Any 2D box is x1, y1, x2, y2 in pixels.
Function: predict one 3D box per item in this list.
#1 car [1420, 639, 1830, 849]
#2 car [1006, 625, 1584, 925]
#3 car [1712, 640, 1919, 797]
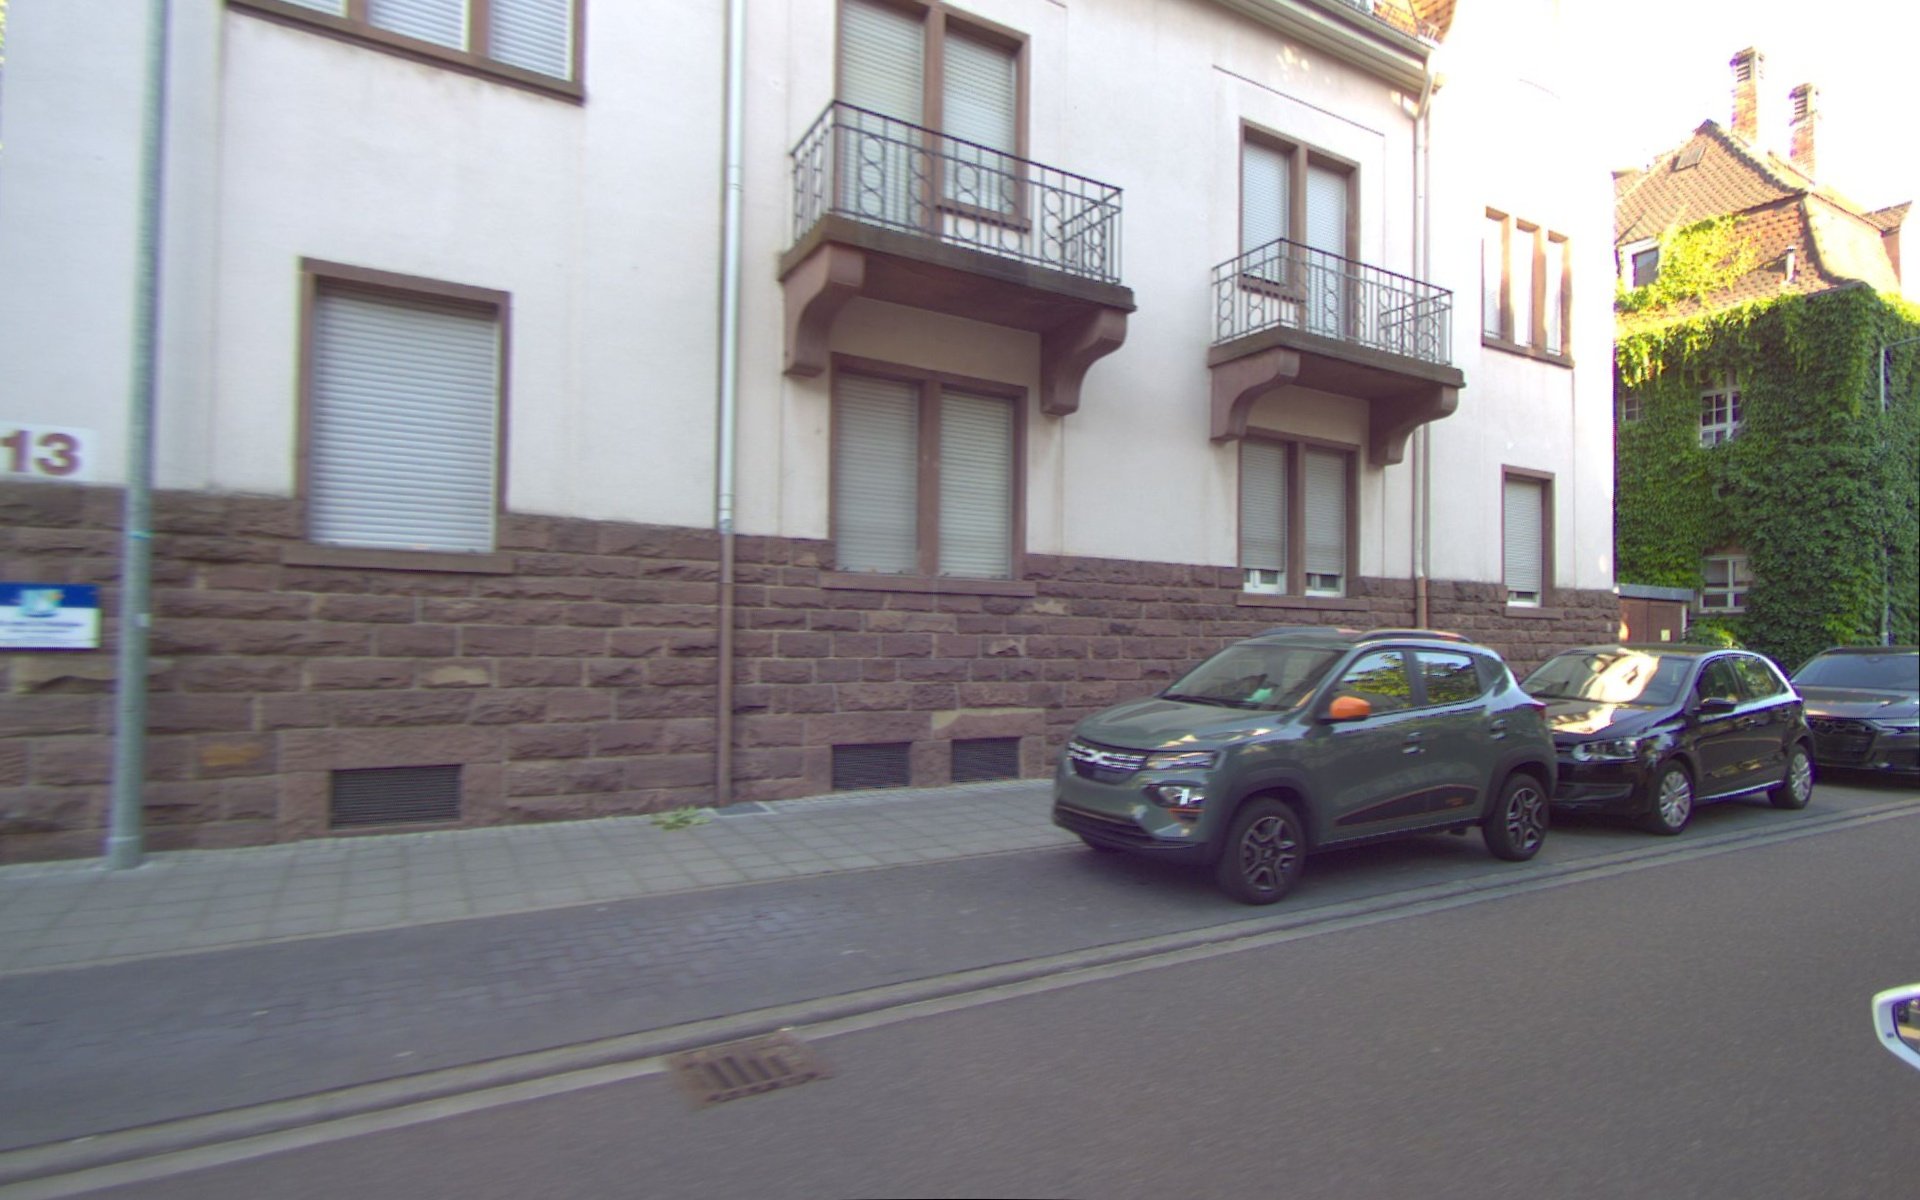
[{"bbox_3d":[5.975,1.108,8.921,3.802,1.466,1.644,2,-1,-32],"label":"car"},{"bbox_3d":[2.317,0.955,6.759,3.719,1.505,1.646,2,-1,-30],"label":"car"},{"bbox_3d":[10.889,1.251,11.779,4.725,1.481,1.782,2,-1,-33],"label":"car"}]
